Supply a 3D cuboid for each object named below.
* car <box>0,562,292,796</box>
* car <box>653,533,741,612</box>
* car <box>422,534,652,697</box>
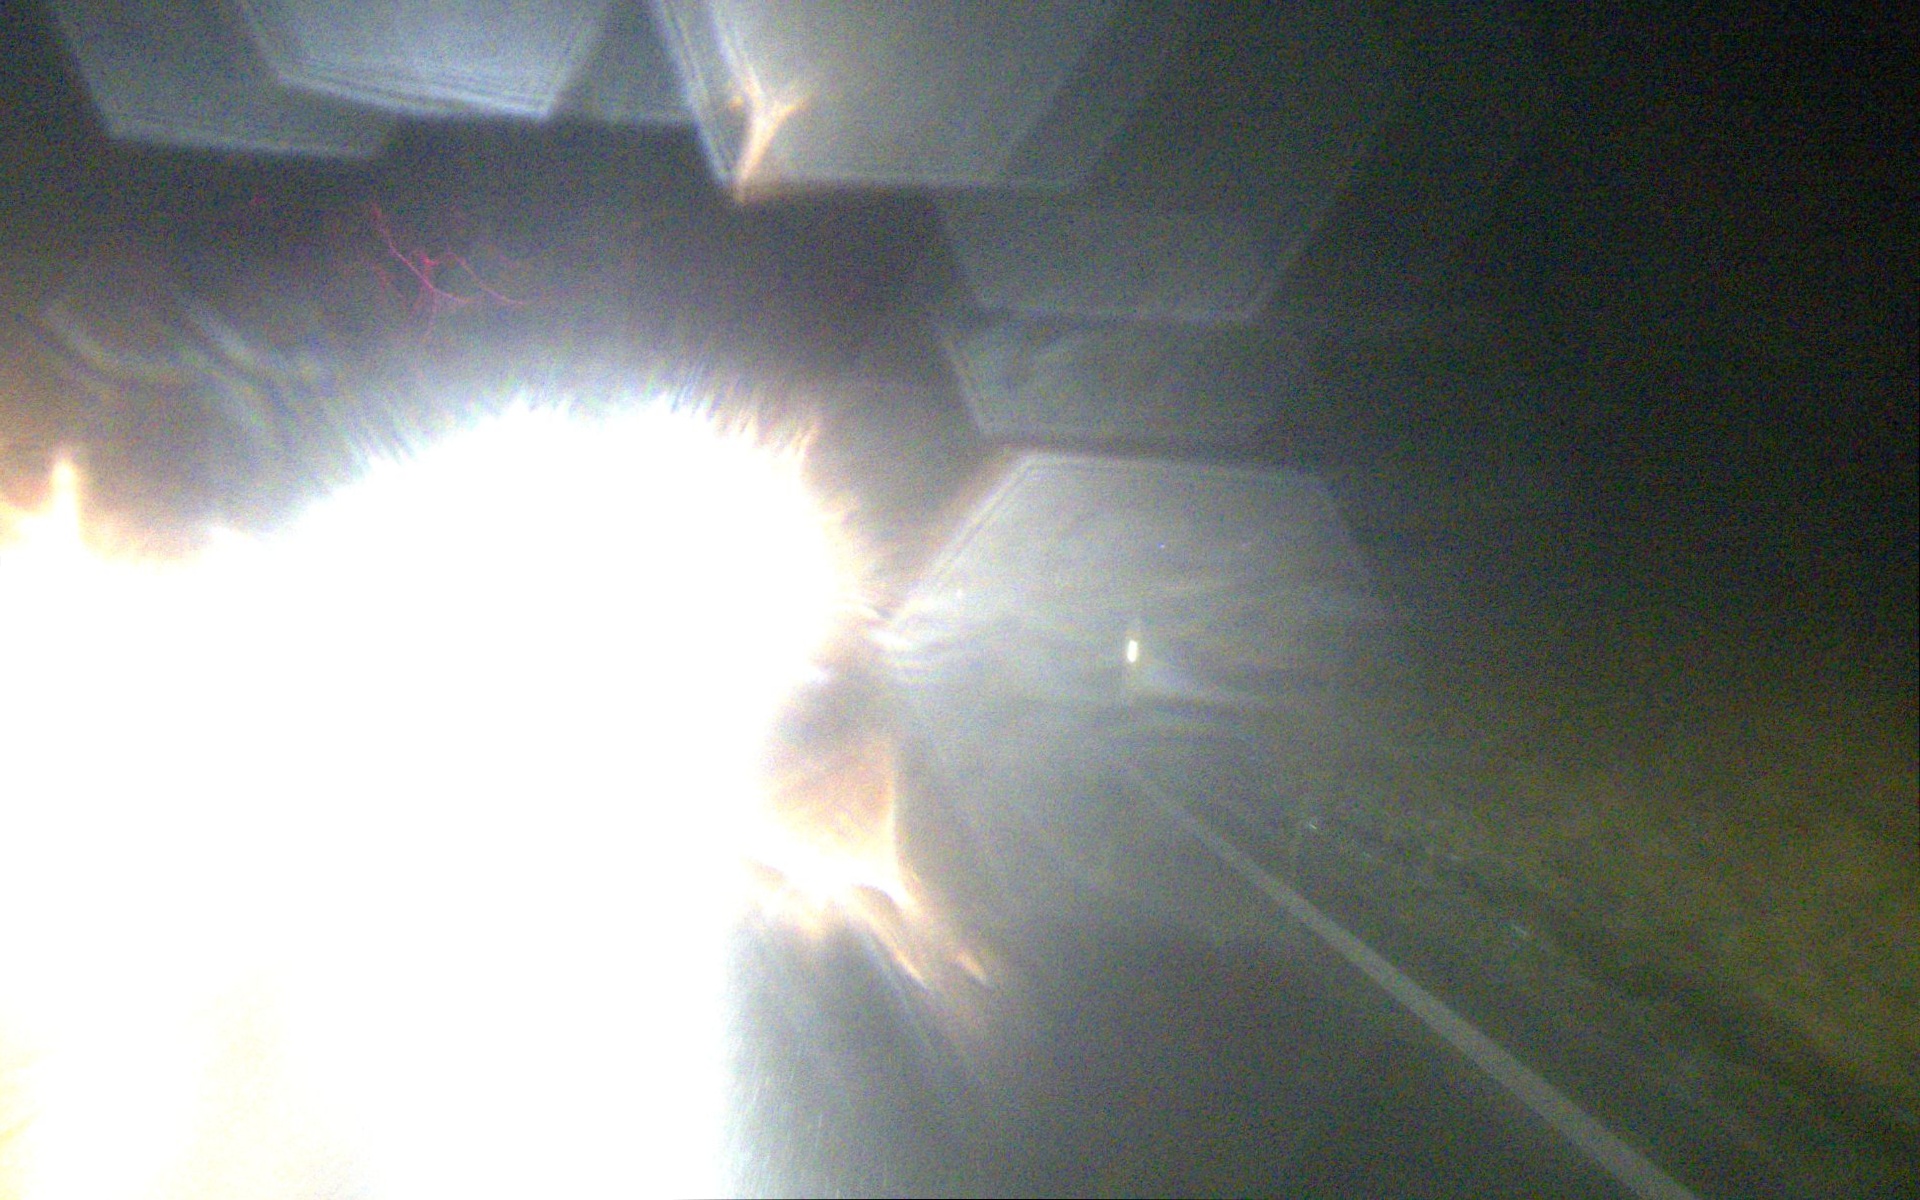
[{"bbox_3d":[-6.004,0.448,23.158,1.804,1.378,4.771,0,1,4],"label":"car"},{"bbox_3d":[-5.763,-0.620,75.768,1.654,1.677,4.521,0,1,-1],"label":"car"},{"bbox_3d":[-4.374,0.121,36.105,1.923,1.610,4.085,0,1,0],"label":"car"}]
